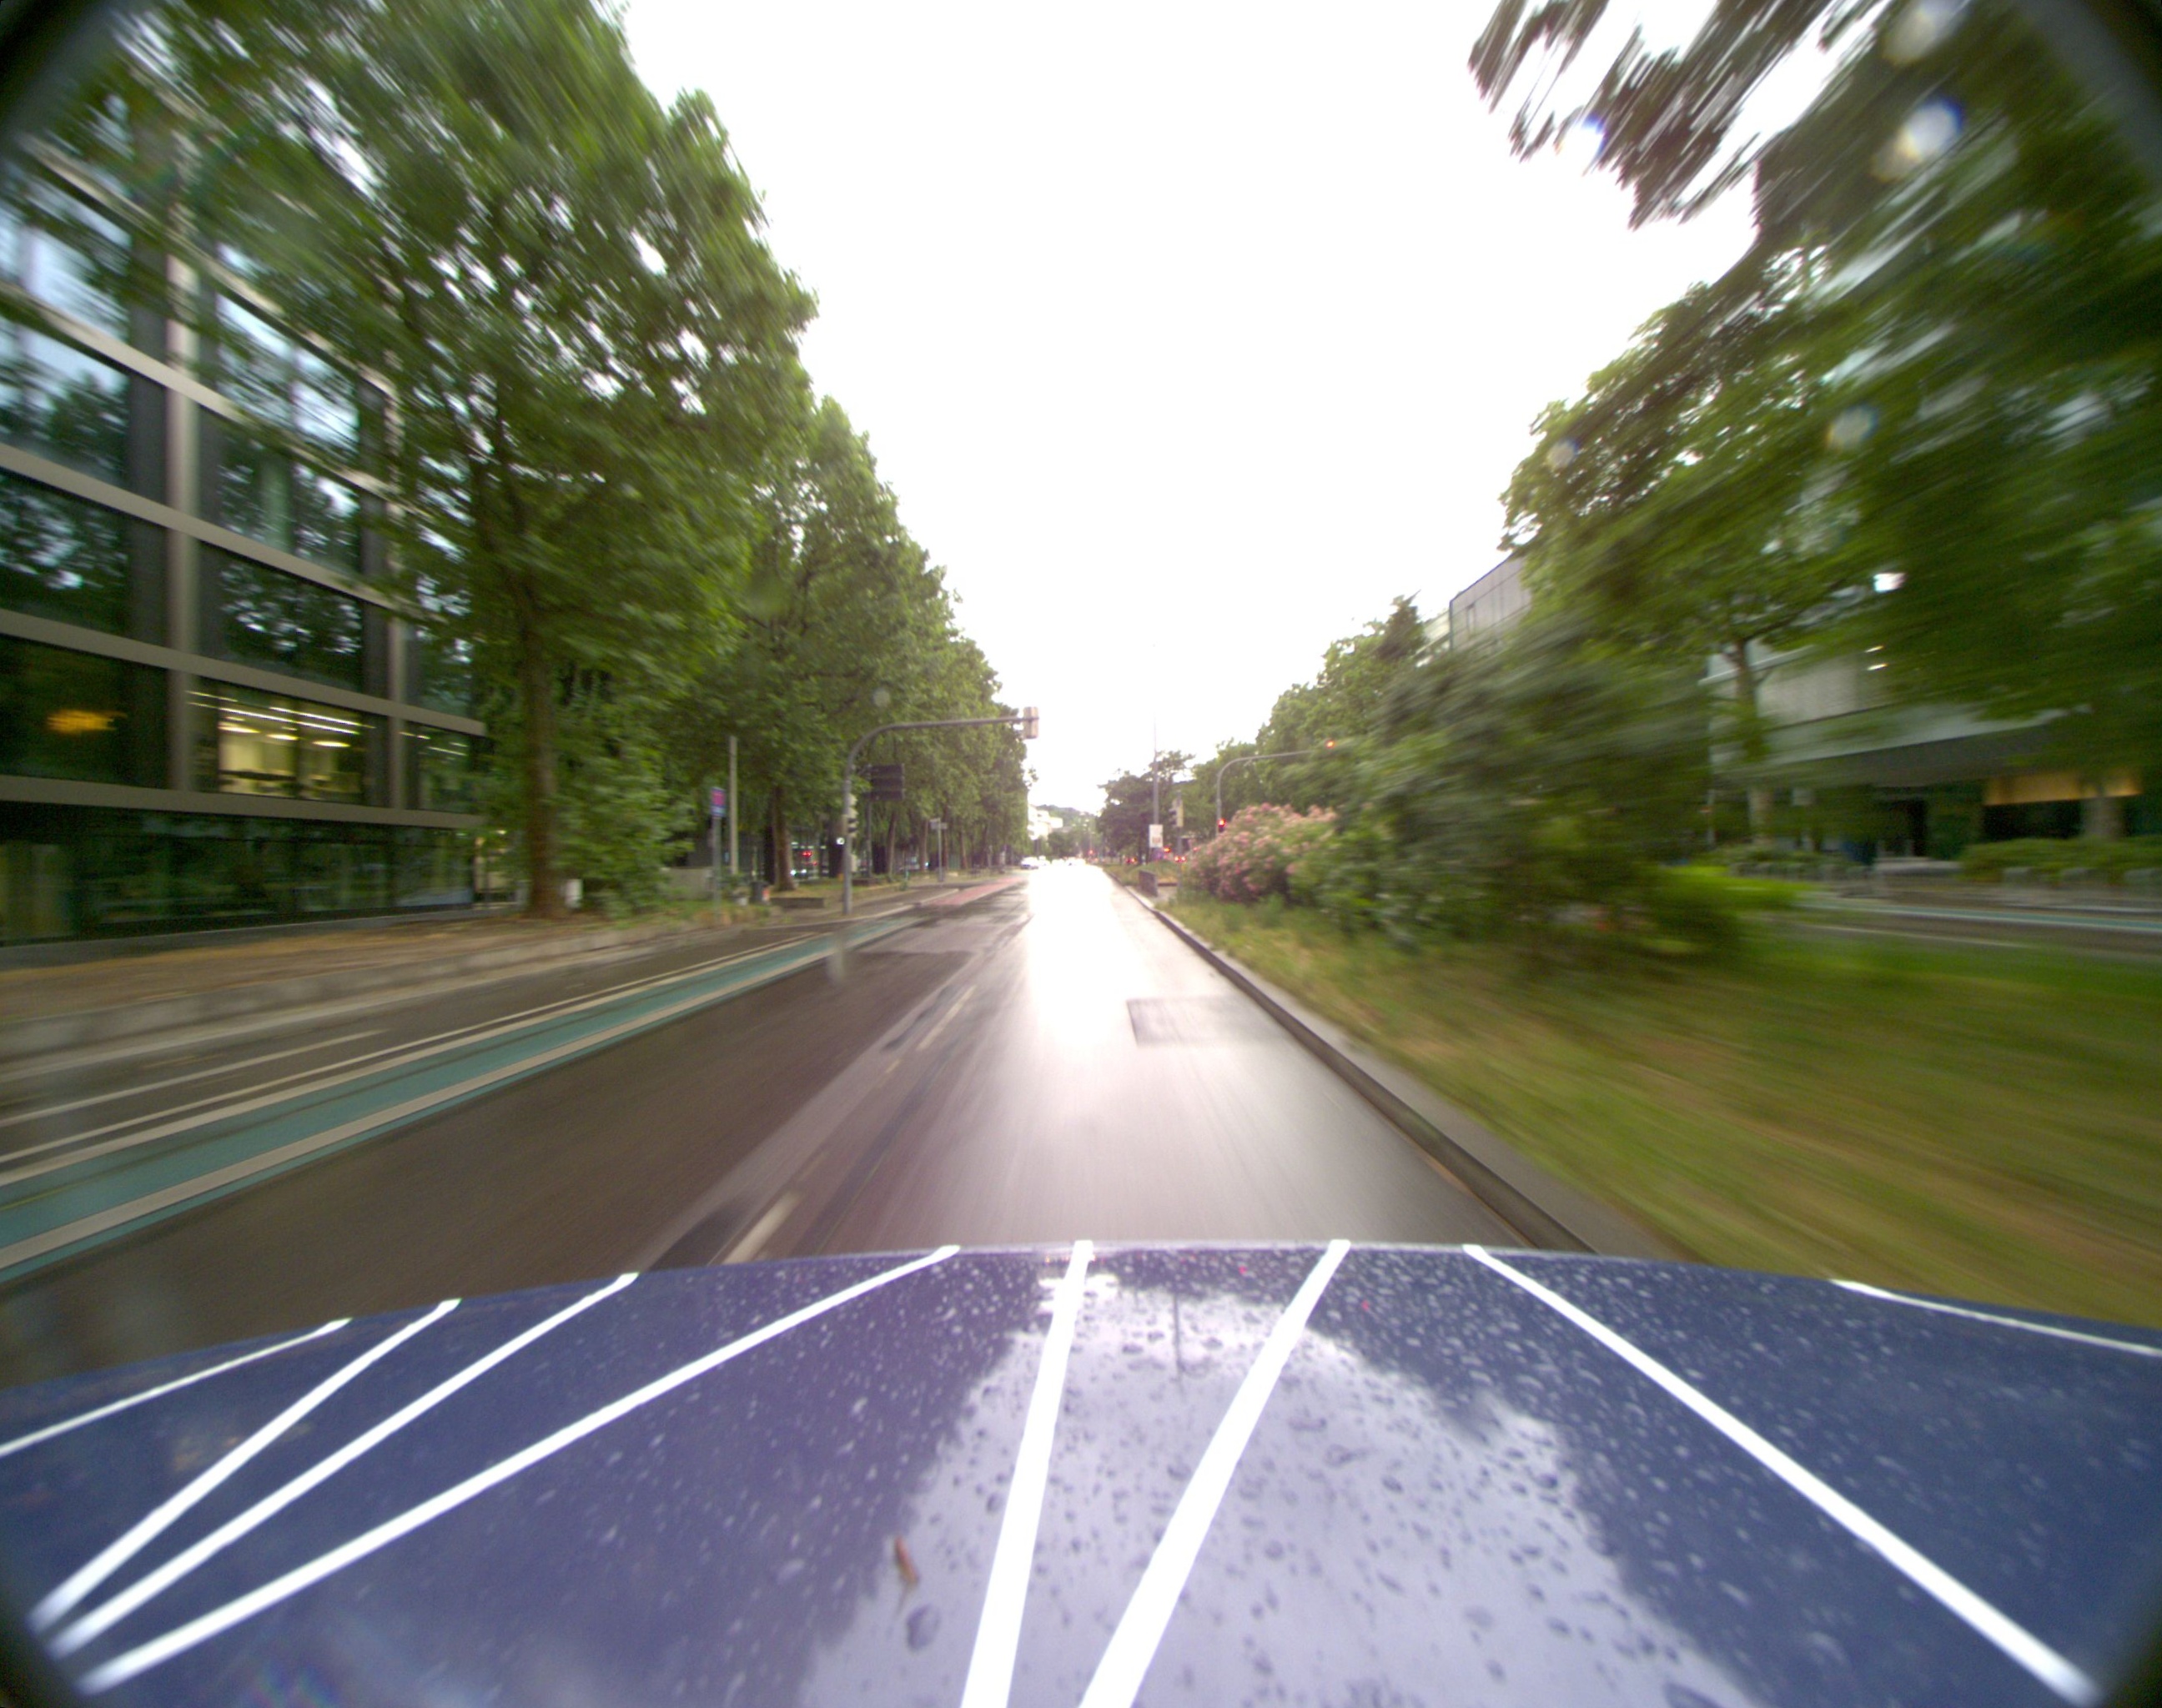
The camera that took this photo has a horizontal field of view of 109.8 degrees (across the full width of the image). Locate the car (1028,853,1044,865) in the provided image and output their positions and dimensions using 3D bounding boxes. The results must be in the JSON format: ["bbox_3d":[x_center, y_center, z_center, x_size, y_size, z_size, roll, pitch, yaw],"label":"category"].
[{"bbox_3d":[-7.066,0.743,118.614,2.036,1.553,4.584,-3,1,1],"label":"car"}]

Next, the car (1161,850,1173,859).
[{"bbox_3d":[17.598,0.061,155.605,1.781,1.565,3.728,-3,1,-1],"label":"car"}]

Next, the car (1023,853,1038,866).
[{"bbox_3d":[-7.438,0.797,112.302,1.932,1.726,4.597,-3,1,-1],"label":"car"}]

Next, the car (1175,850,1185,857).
[{"bbox_3d":[20.891,-0.063,160.331,1.765,1.318,3.737,-3,1,1],"label":"car"}]

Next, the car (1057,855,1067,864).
[{"bbox_3d":[-3.629,1.087,143.534,1.780,1.546,3.929,-3,1,0],"label":"car"}]

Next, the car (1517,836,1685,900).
[{"bbox_3d":[14.963,0.330,22.259,1.914,1.575,4.747,-3,1,4],"label":"car"}]

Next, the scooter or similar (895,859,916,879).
[{"bbox_3d":[-11.706,1.013,50.592,1.187,1.275,0.535,-4,1,-40],"label":"scooter or similar"}]

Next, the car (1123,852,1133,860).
[{"bbox_3d":[9.971,0.399,160.608,1.678,1.381,3.527,-3,1,-3],"label":"car"}]

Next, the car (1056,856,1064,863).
[{"bbox_3d":[-4.694,1.242,169.619,1.557,1.534,3.663,-3,1,0],"label":"car"}]
